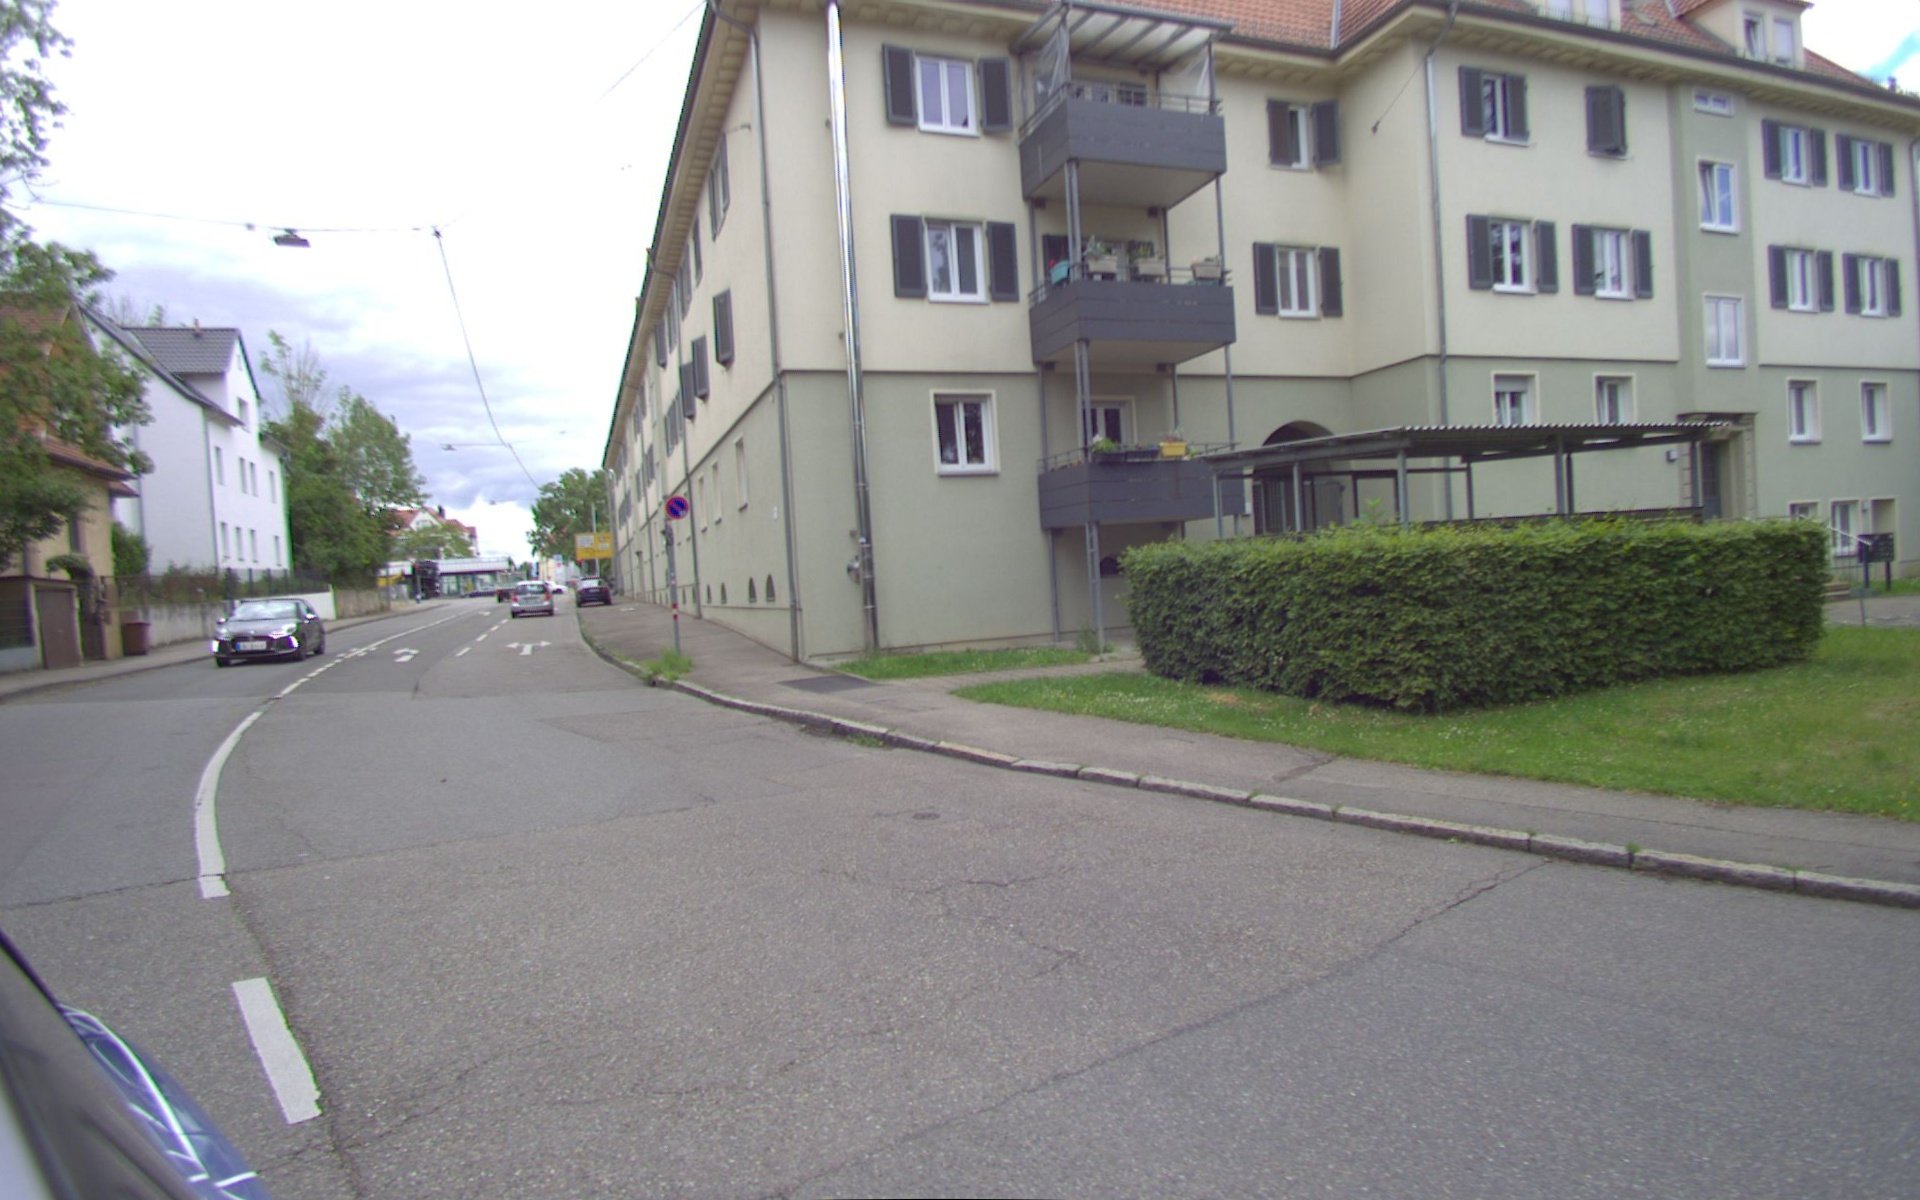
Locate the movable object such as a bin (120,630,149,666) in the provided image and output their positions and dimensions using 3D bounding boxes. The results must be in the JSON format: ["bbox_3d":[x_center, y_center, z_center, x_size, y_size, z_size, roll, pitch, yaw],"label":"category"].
[{"bbox_3d":[-22.301,1.296,27.350,0.454,0.931,0.568,0,0,-22],"label":"movable object such as a bin"}]

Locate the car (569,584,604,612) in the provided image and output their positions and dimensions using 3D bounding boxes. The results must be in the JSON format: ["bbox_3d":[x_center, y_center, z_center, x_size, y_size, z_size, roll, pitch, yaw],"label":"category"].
[{"bbox_3d":[-24.045,-0.132,65.013,1.796,1.645,4.712,-5,2,-23],"label":"car"}]

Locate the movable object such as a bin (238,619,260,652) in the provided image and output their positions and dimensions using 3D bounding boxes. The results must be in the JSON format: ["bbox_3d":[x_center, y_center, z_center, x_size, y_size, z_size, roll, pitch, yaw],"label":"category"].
[{"bbox_3d":[-26.022,1.284,37.044,0.520,1.187,0.636,0,0,-22],"label":"movable object such as a bin"}]

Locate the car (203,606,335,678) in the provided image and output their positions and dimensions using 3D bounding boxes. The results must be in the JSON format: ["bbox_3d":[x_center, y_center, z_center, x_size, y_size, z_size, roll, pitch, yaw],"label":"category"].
[{"bbox_3d":[-16.314,0.930,24.081,1.619,1.408,3.794,-3,2,-19],"label":"car"}]

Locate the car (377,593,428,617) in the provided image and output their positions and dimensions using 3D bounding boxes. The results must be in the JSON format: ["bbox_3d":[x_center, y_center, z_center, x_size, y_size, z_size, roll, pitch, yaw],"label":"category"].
[{"bbox_3d":[-52.102,0.459,94.692,3.931,2.028,2.007,-3,2,-25],"label":"car"}]

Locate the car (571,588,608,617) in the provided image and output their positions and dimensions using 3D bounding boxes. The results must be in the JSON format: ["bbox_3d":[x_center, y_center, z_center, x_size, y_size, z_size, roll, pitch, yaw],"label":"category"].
[{"bbox_3d":[-20.118,0.120,54.861,1.686,1.413,4.862,-4,2,-22],"label":"car"}]

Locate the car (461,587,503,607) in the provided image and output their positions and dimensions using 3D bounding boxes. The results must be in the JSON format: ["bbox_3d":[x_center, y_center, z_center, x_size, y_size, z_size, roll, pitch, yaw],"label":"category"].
[{"bbox_3d":[-51.165,-0.335,108.354,3.931,2.028,2.007,-3,2,-27],"label":"car"}]

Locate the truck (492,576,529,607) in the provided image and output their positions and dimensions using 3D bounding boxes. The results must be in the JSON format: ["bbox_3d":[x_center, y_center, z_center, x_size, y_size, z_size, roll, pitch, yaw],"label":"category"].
[{"bbox_3d":[-34.810,-0.641,78.510,2.091,2.218,6.611,-2,1,-21],"label":"truck"}]

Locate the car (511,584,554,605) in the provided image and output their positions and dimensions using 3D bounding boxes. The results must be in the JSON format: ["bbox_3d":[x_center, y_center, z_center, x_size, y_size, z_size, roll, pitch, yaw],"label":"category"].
[{"bbox_3d":[-45.514,-0.586,107.732,3.931,2.028,2.007,-3,2,-27],"label":"car"}]

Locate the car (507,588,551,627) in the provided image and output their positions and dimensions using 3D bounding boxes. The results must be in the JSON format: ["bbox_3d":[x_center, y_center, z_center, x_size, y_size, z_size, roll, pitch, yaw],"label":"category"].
[{"bbox_3d":[-19.489,0.341,45.873,1.698,1.617,3.990,-3,1,-22],"label":"car"}]
